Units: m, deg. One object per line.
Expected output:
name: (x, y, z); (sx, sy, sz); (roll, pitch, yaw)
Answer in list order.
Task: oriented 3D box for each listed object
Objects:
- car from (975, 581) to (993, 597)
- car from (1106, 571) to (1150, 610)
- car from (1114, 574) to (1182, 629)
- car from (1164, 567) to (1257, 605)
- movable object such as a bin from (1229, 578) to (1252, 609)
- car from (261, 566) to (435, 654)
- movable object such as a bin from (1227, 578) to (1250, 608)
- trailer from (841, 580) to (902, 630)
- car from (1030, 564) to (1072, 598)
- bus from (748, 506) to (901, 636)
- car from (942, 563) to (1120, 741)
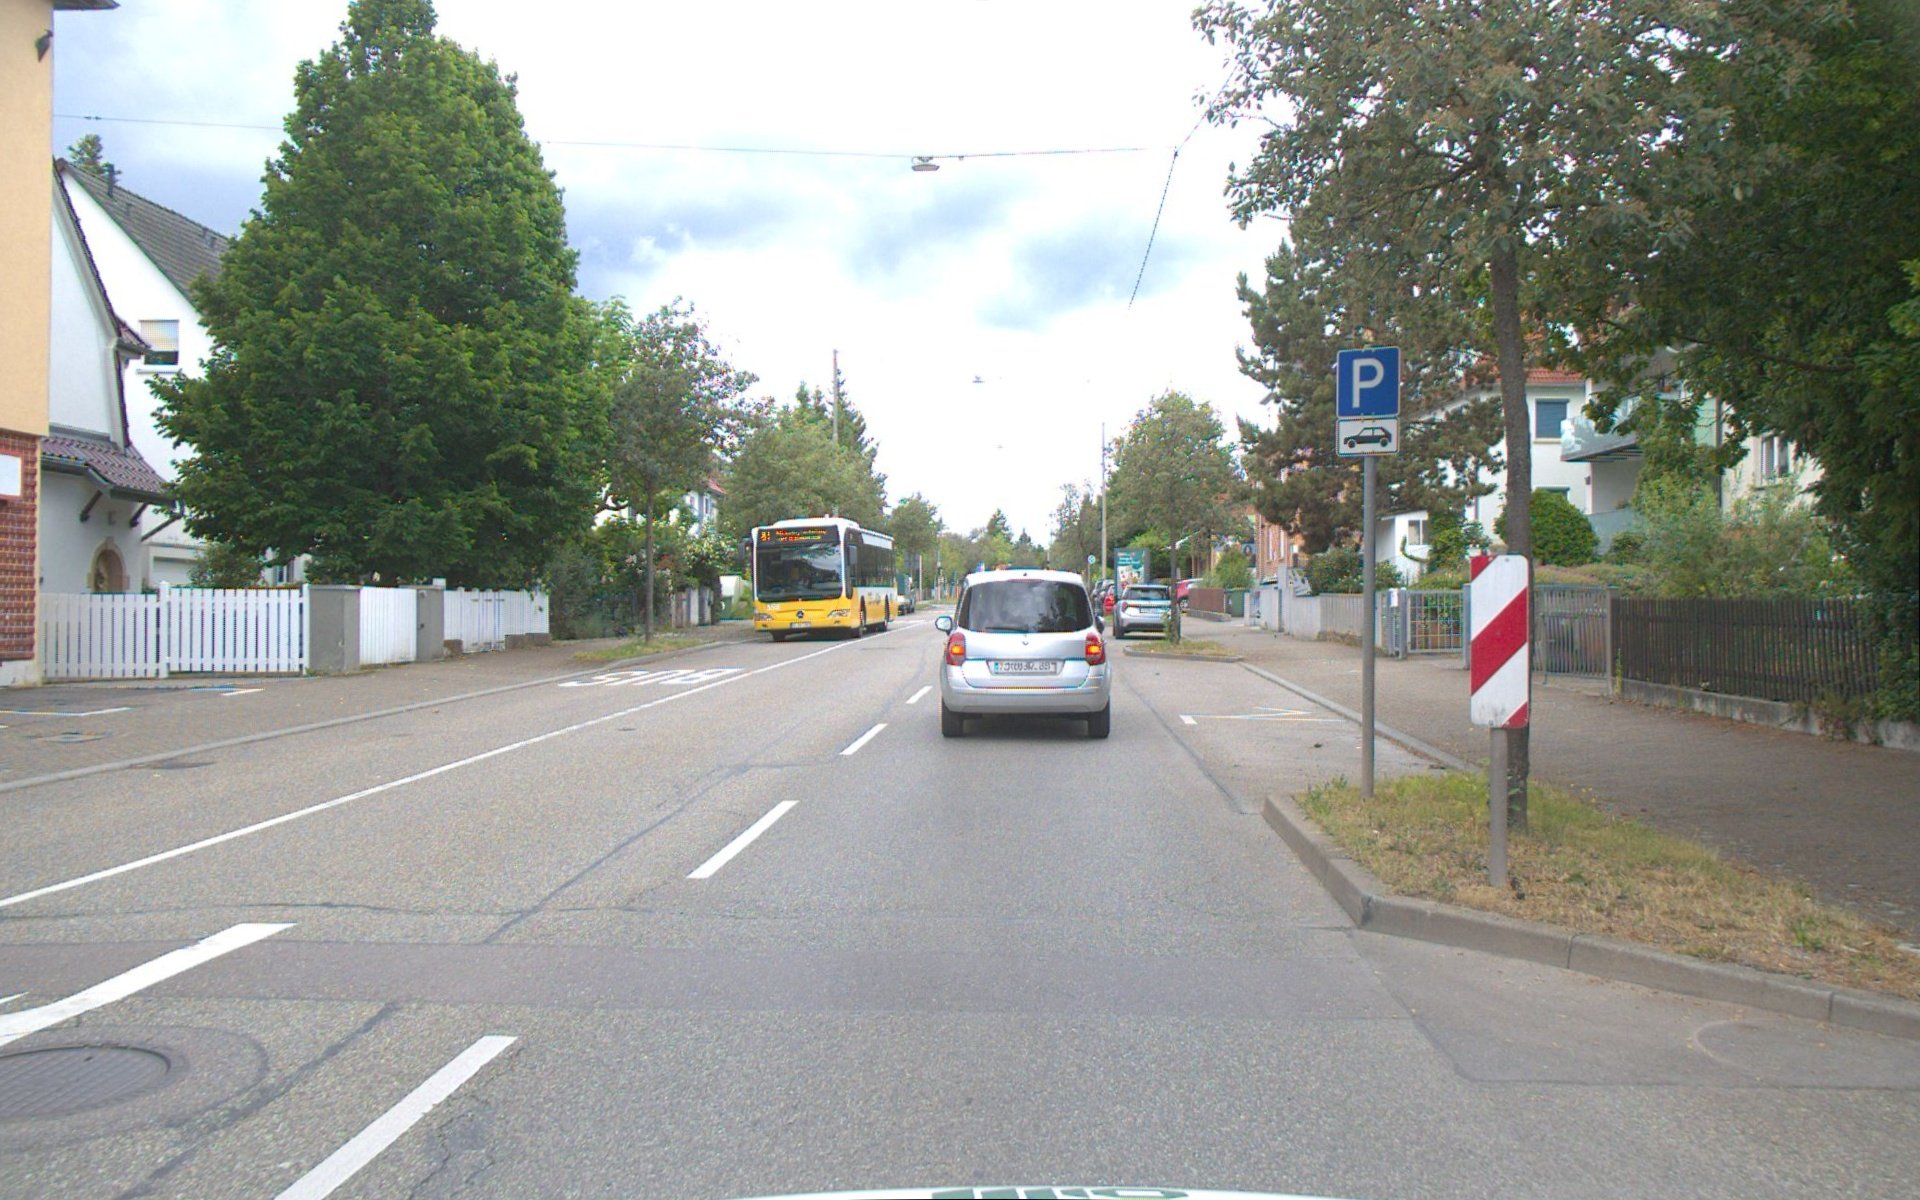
car: (2.695, -1.232, 186.749); (1.867, 1.646, 3.998); (1, 0, -2)
car: (6.424, -0.370, 63.378); (1.627, 1.417, 3.670); (-1, 1, 5)
car: (5.016, 0.055, 44.484); (1.615, 1.406, 4.002); (0, 0, 4)
car: (11.619, -0.655, 76.852); (3.910, 1.522, 1.808); (-3, 0, -6)
movable object such as a bin: (10.389, -0.243, 61.330); (0.760, 1.123, 0.691); (0, 1, 2)
car: (-12.200, 0.146, 33.287); (1.769, 1.591, 4.618); (-2, 1, -1)
movable object such as a bin: (10.462, -0.276, 62.085); (0.760, 1.123, 0.691); (0, 1, 2)
trailer: (-3.929, 0.217, 74.625); (2.264, 2.123, 5.873); (1, 0, 1)
car: (4.675, -0.956, 84.505); (1.790, 1.705, 3.577); (0, 0, 9)
bus: (-3.589, -0.799, 47.143); (2.577, 3.140, 12.076); (-2, 1, 4)
car: (0.761, 0.487, 17.144); (1.596, 1.584, 4.001); (1, 0, 3)
